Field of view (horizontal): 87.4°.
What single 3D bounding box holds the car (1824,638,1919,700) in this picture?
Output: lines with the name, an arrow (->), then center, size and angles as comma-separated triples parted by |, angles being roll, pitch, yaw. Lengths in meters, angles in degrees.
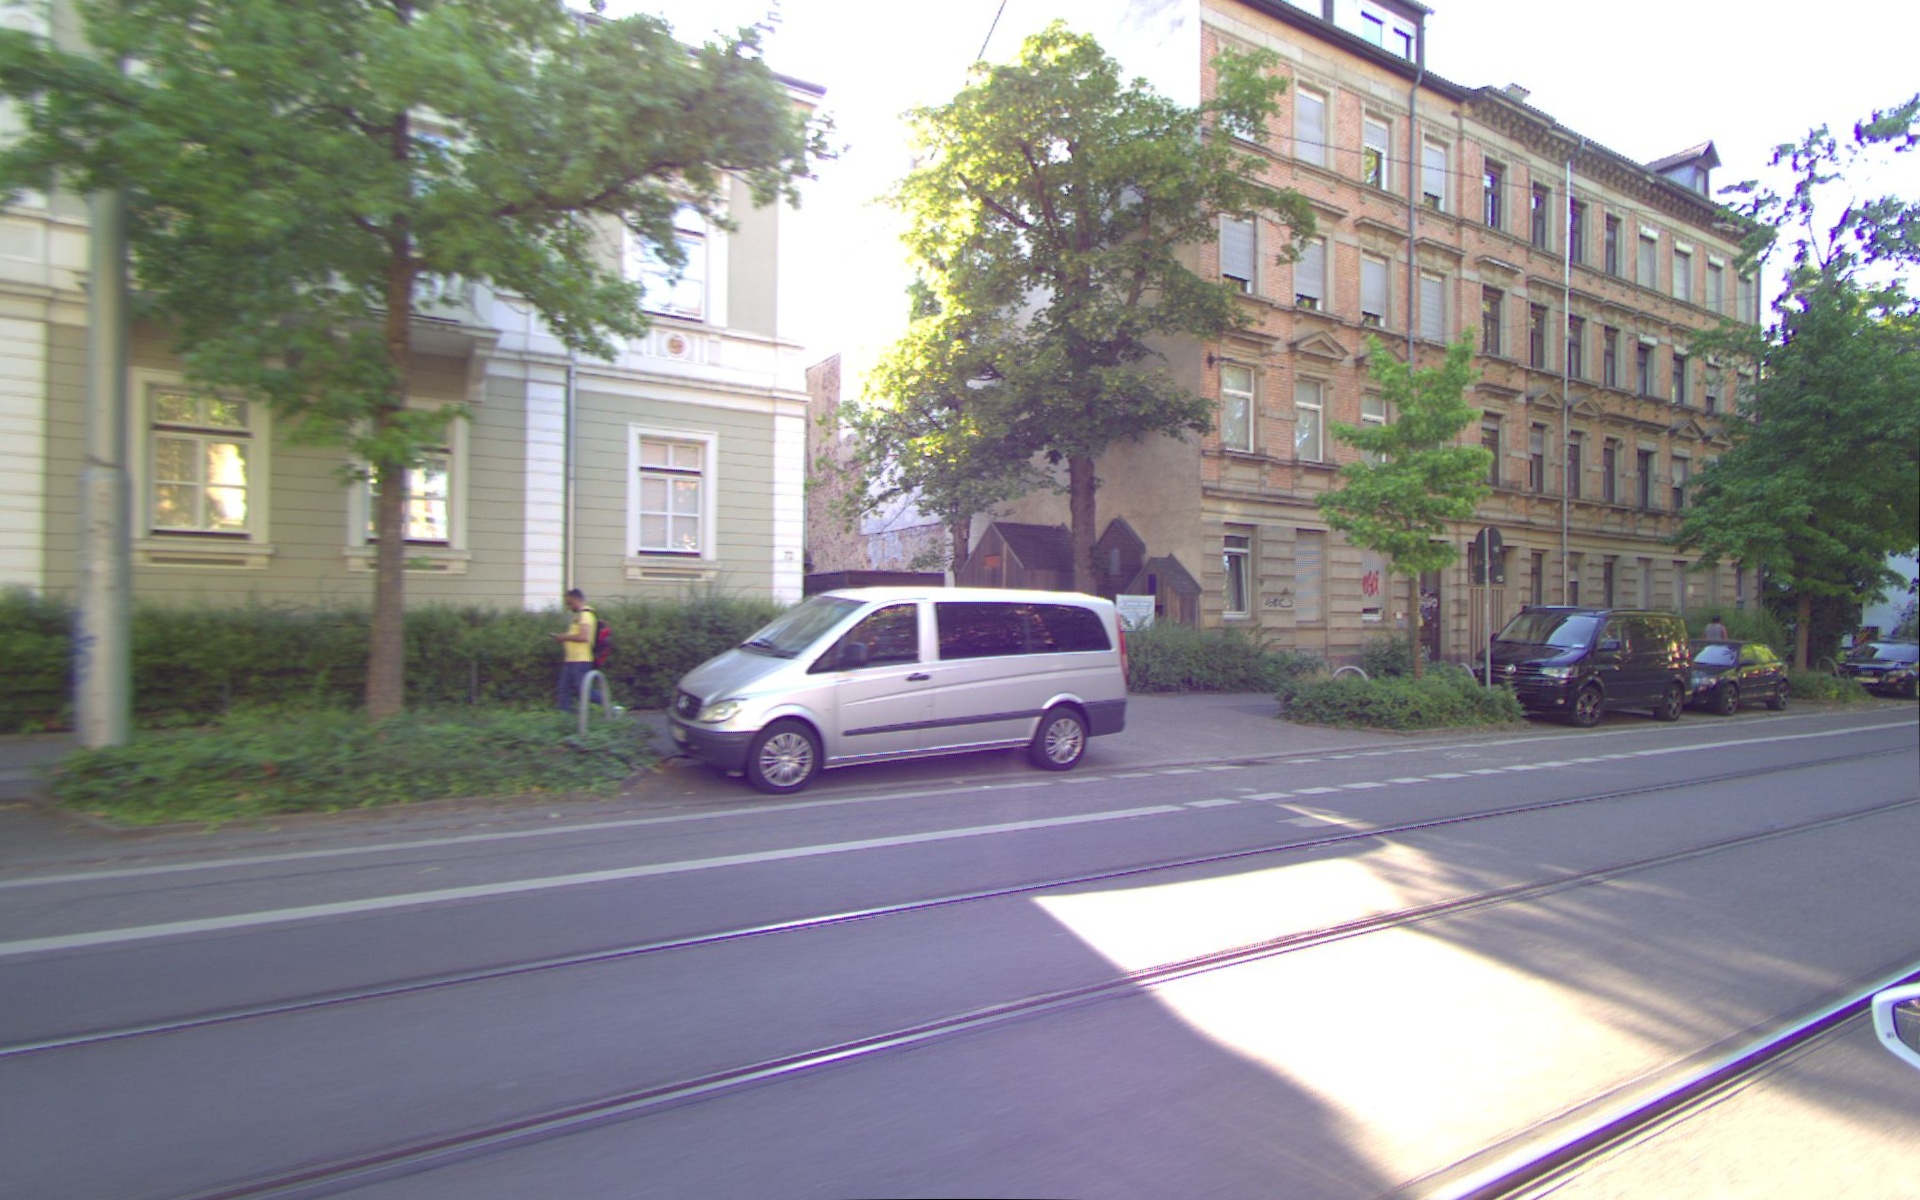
car -> 24.415, 1.749, 26.283 | 3.905, 1.464, 1.649 | 1, -1, -32

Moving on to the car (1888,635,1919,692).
car -> 28.892, 1.827, 29.050 | 4.479, 1.571, 1.693 | 1, -1, -29

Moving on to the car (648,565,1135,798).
car -> -0.616, 0.767, 10.758 | 4.930, 2.015, 1.835 | 1, -1, -31

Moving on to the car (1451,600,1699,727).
car -> 11.233, 1.089, 18.255 | 4.782, 2.040, 1.982 | 1, -2, -33

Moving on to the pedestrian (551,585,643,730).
pedestrian -> -4.407, 0.673, 12.189 | 0.936, 1.684, 0.602 | 1, 0, -30

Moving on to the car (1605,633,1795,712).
car -> 15.524, 1.453, 21.029 | 4.223, 1.478, 1.843 | 1, -2, -33

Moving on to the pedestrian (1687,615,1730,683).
pedestrian -> 21.120, 1.360, 28.329 | 0.721, 1.872, 0.737 | 1, 0, -33
